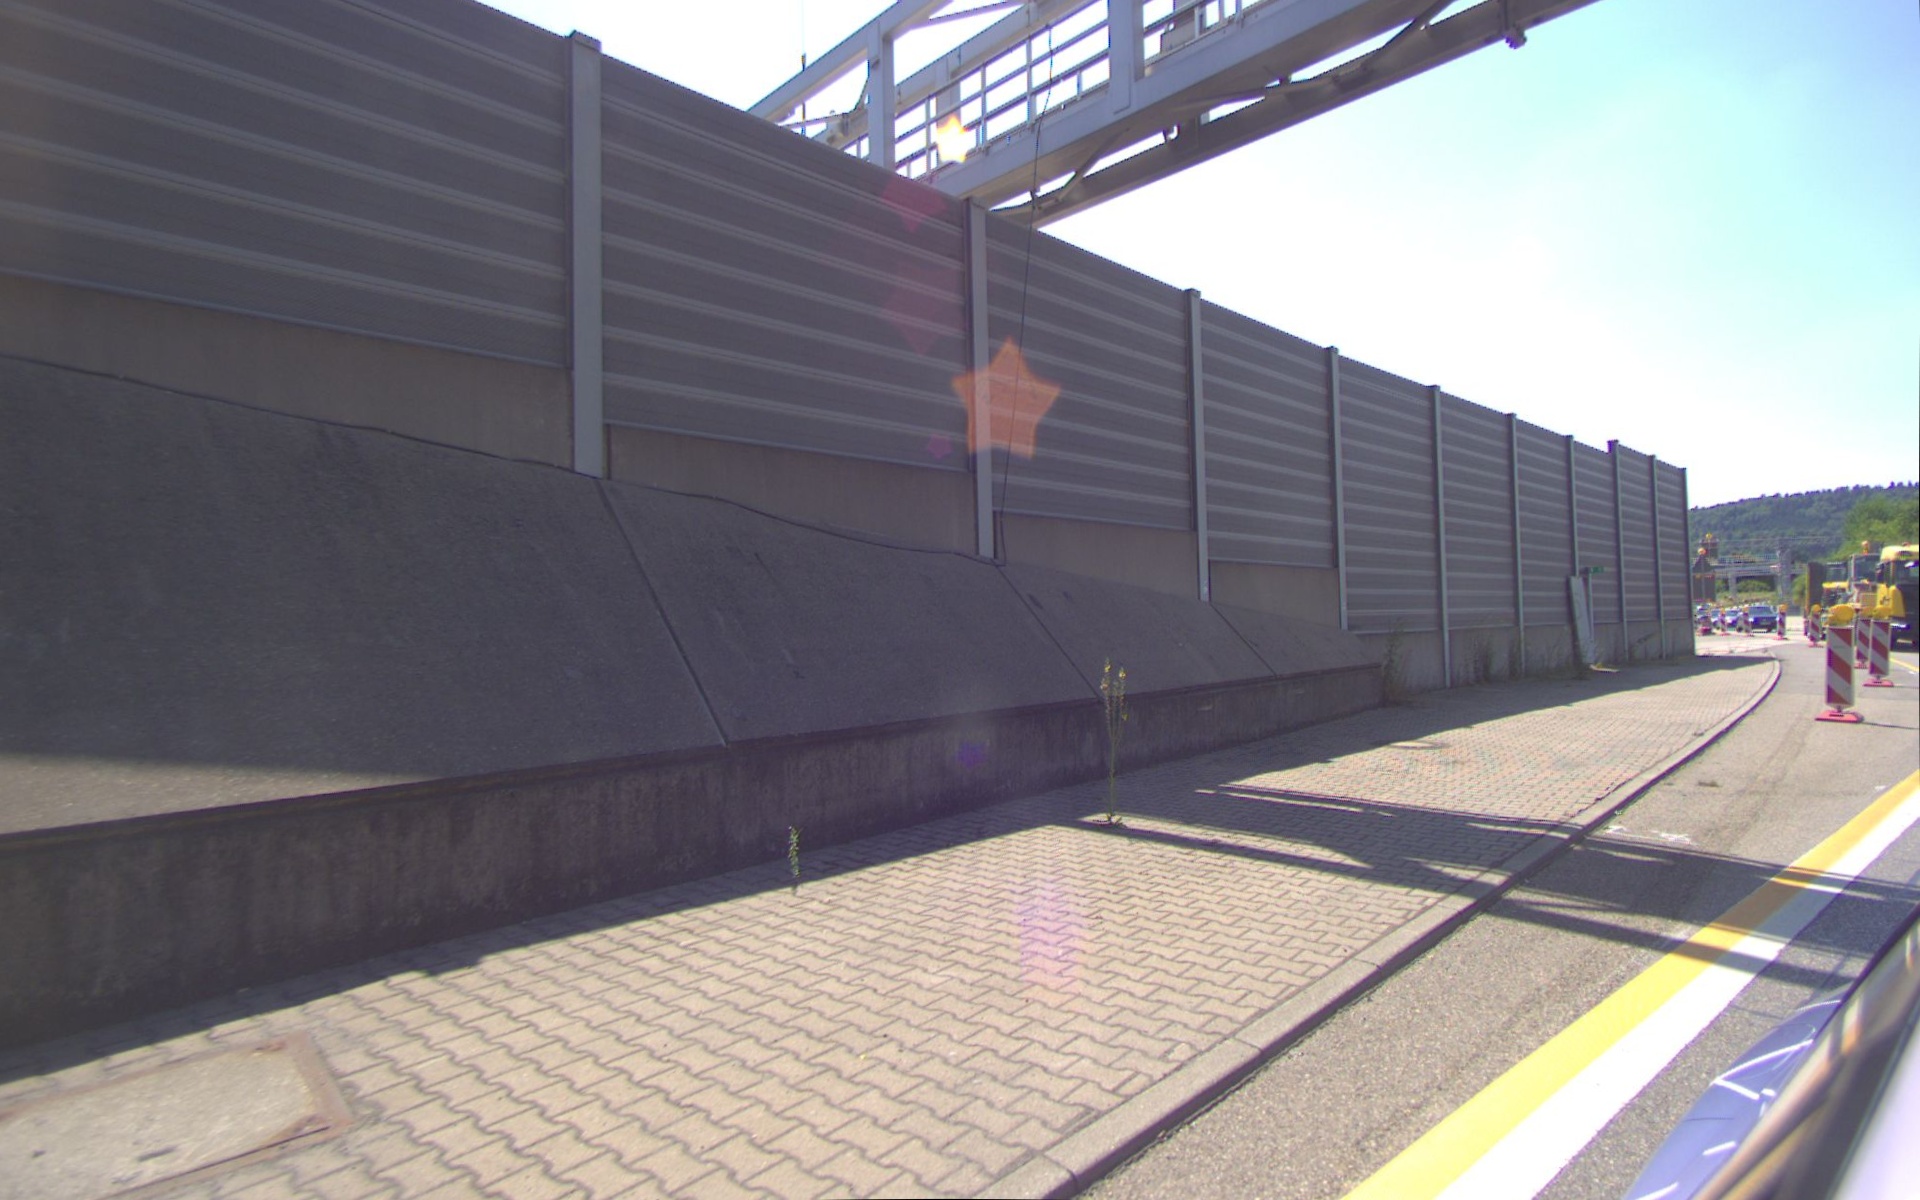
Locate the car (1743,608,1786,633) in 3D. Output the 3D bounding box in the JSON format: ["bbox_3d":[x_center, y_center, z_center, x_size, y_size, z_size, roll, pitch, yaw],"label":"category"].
[{"bbox_3d":[50.181,1.279,63.158,1.463,1.466,4.312,-2,-2,30],"label":"car"}]

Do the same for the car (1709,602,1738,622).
[{"bbox_3d":[60.168,0.913,79.807,1.465,1.466,4.309,1,0,33],"label":"car"}]

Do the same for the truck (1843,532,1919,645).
[{"bbox_3d":[34.444,-0.388,35.726,3.202,3.709,7.009,-4,-3,29],"label":"truck"}]

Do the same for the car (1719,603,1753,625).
[{"bbox_3d":[55.358,0.968,72.262,1.464,1.466,4.311,1,0,32],"label":"car"}]

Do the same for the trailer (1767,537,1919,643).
[{"bbox_3d":[38.455,-0.227,43.096,3.209,3.715,17.242,-4,-3,28],"label":"trailer"}]

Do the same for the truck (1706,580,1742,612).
[{"bbox_3d":[99.891,-0.365,132.477,3.218,3.715,17.191,-5,-3,36],"label":"truck"}]
